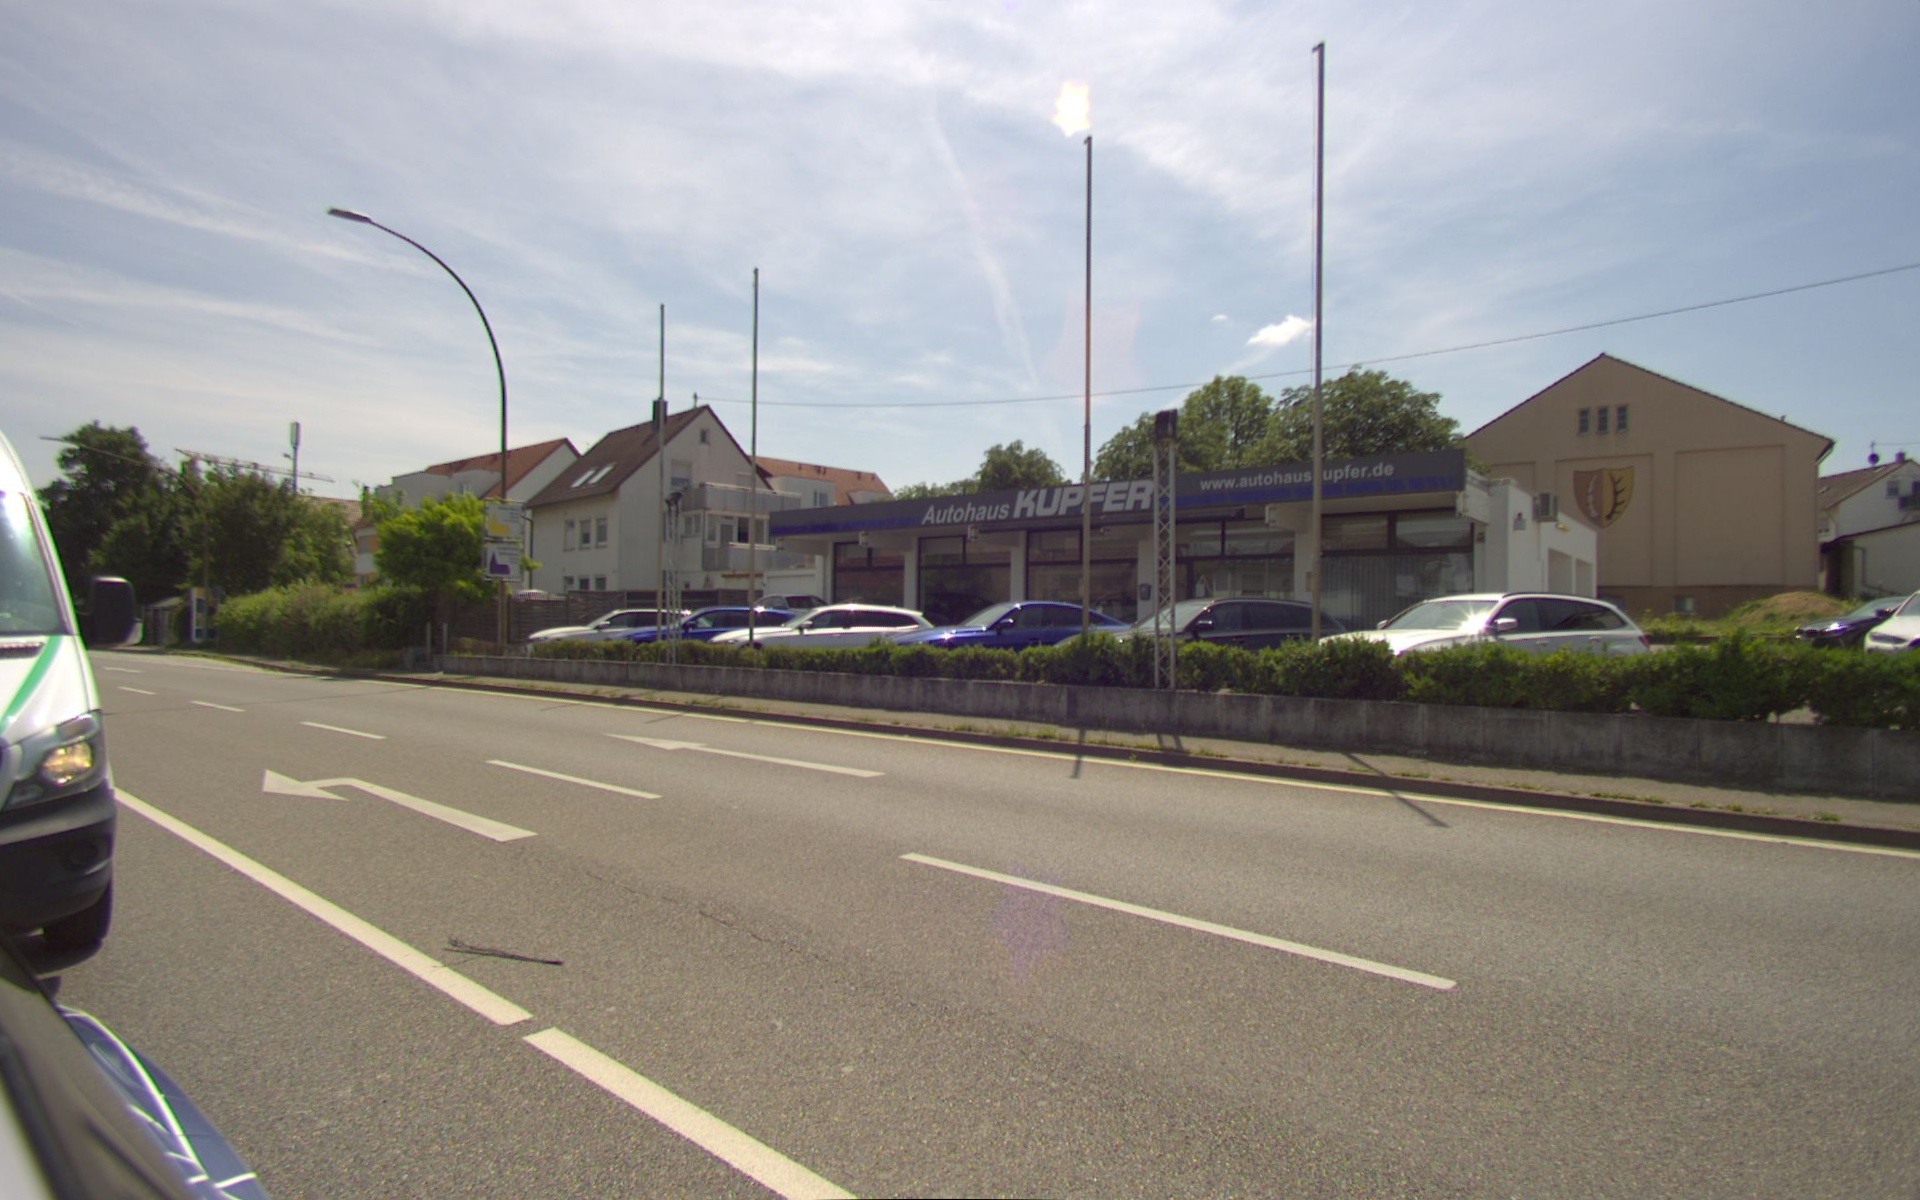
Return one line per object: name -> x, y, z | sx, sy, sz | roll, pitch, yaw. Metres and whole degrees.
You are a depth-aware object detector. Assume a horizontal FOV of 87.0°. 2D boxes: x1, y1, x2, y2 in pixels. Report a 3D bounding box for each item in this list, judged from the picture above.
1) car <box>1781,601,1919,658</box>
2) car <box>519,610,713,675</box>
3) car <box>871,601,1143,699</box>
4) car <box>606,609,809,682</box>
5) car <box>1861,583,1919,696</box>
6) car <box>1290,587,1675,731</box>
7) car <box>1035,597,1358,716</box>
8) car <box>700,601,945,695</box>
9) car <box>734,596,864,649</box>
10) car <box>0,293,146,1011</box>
car -> 23.084, 0.704, 25.056 | 3.946, 1.231, 1.791 | -2, 0, 2
car -> -8.680, 1.027, 25.662 | 4.501, 1.458, 1.863 | -1, 0, -21
car -> 0.806, 0.778, 17.404 | 4.267, 1.458, 1.863 | -1, 1, -23
car -> -5.754, 0.969, 22.994 | 4.267, 1.458, 1.863 | -1, 0, -21
car -> 14.755, 0.506, 14.581 | 3.934, 1.521, 1.839 | -1, 0, -36
car -> 6.294, 0.592, 12.174 | 4.267, 1.458, 1.863 | -1, 1, -24
car -> 3.424, 0.715, 14.651 | 4.267, 1.458, 1.905 | -1, 1, -24
car -> -2.730, 0.871, 20.006 | 4.438, 1.458, 1.863 | -3, 1, -19
car -> -4.967, 0.657, 30.742 | 1.781, 1.475, 4.589 | -1, 0, -40
car -> -5.937, 0.227, 5.037 | 5.745, 2.548, 1.915 | -1, -1, 40
